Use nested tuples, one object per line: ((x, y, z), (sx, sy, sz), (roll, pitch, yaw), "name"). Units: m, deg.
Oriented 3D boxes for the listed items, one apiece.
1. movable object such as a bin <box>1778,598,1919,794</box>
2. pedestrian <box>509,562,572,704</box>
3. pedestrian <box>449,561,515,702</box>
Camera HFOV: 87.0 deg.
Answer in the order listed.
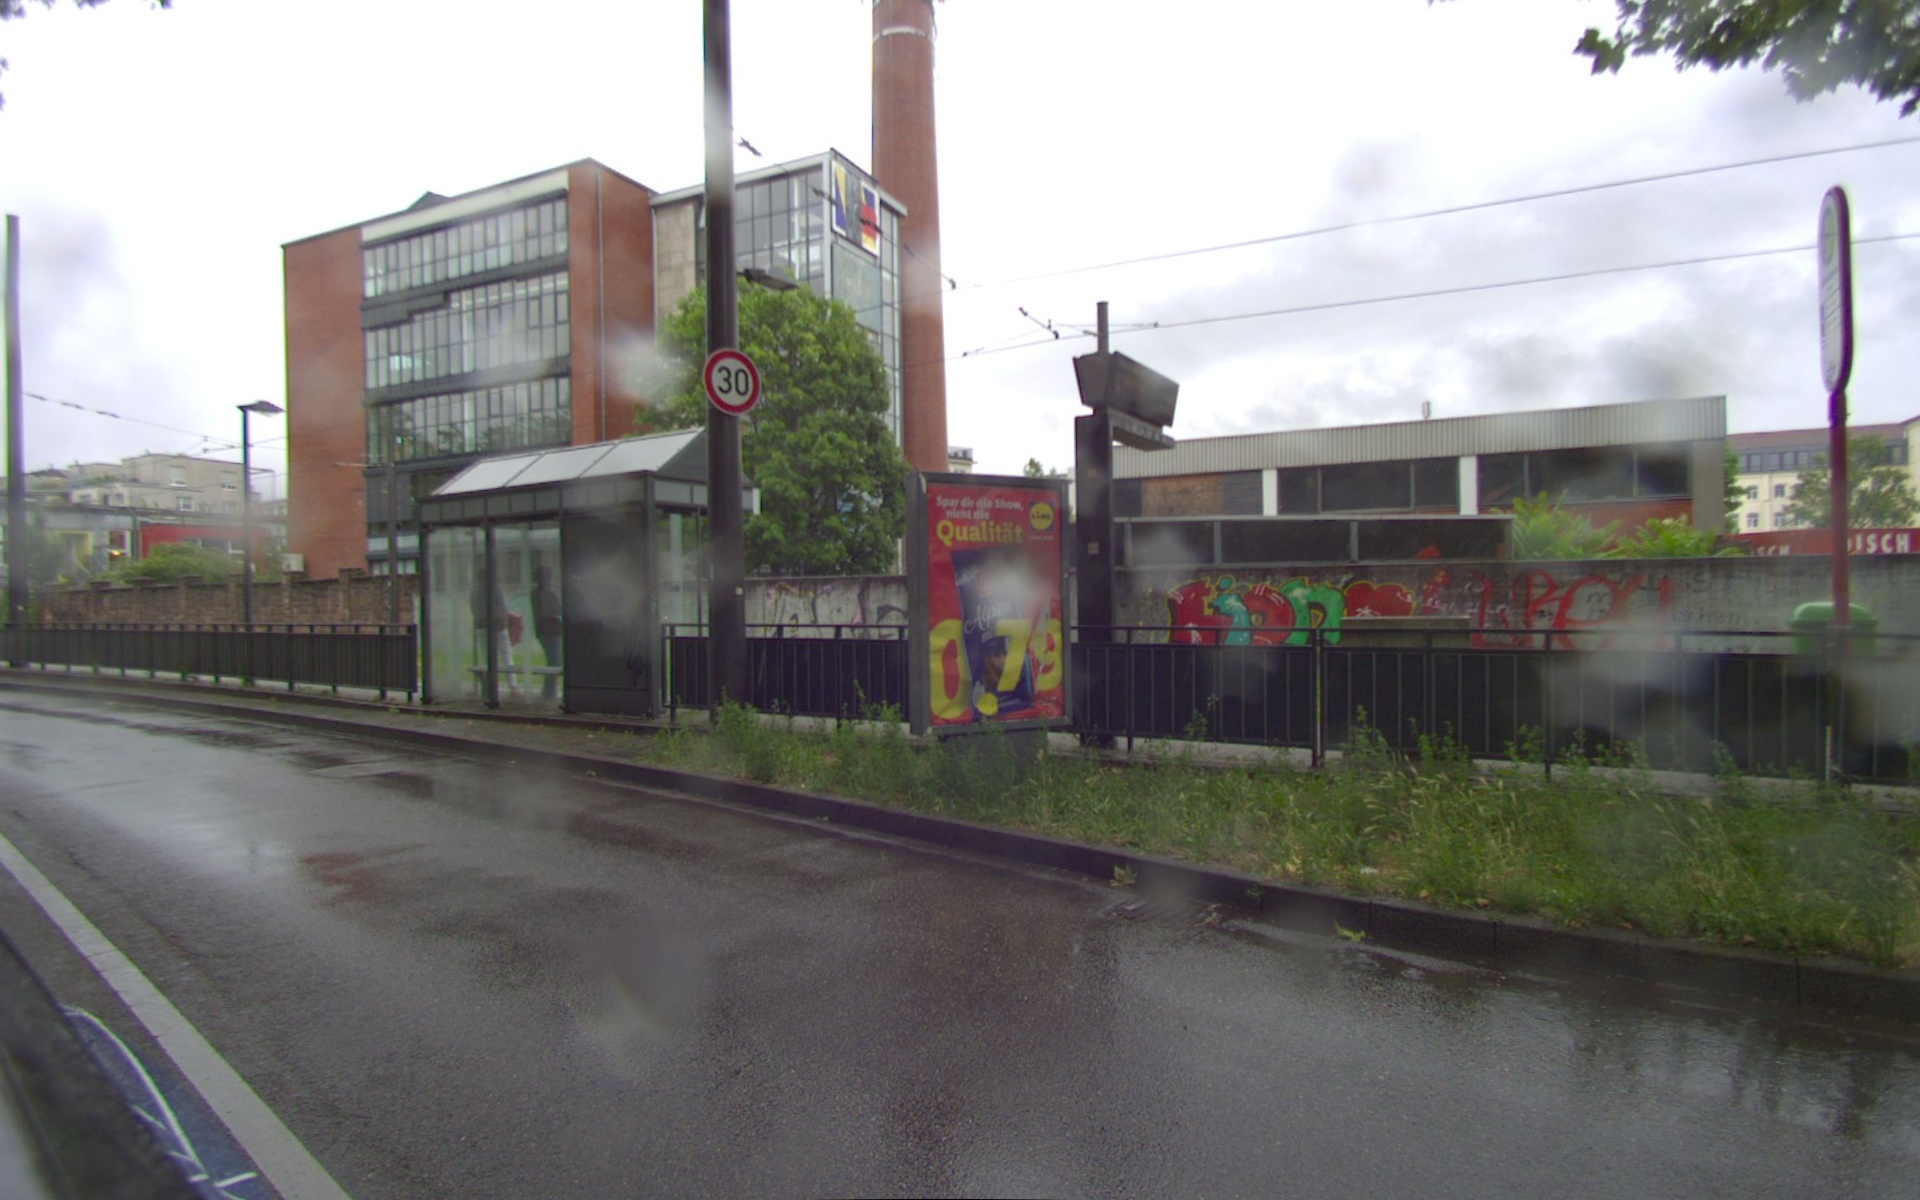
((5.223, 0.544, 5.952), (0.528, 1.098, 0.414), (-1, -2, 25), "movable object such as a bin")
((-5.265, 0.409, 12.733), (0.560, 1.744, 0.583), (0, -2, -3), "pedestrian")
((-6.067, 0.399, 12.861), (0.560, 1.744, 0.583), (0, -2, -1), "pedestrian")
